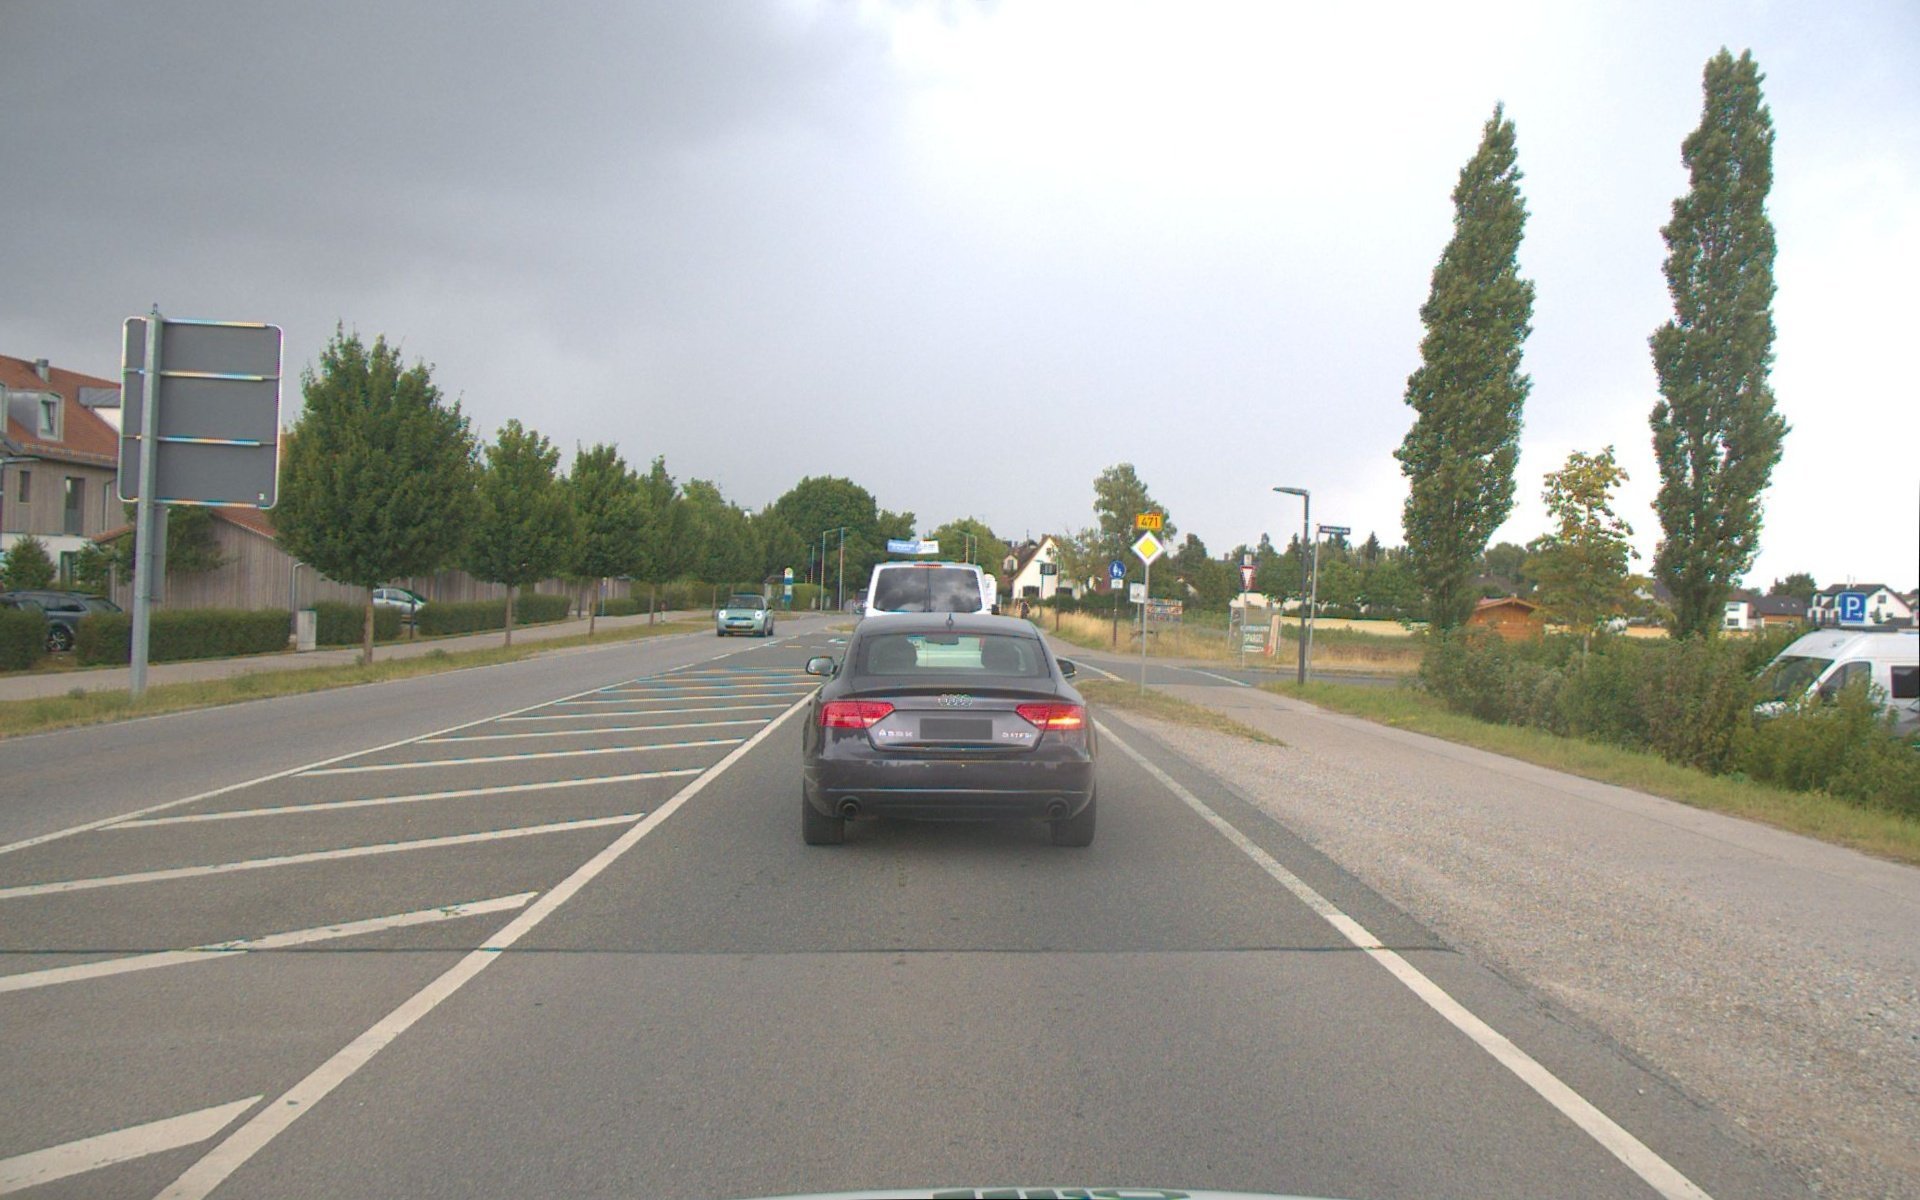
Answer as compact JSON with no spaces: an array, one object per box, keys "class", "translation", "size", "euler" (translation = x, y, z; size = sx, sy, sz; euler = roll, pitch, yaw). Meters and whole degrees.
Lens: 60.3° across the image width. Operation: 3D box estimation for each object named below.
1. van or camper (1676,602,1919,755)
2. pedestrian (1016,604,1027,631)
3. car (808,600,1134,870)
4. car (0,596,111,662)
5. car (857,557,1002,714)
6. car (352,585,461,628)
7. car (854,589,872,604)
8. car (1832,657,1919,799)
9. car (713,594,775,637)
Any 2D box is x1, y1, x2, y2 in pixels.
[{"class":"van or camper","translation":[16.081,1.324,28.744],"size":[6.338,2.507,2.280],"euler":[0,0,-4]},{"class":"pedestrian","translation":[3.575,0.990,95.711],"size":[0.611,1.551,0.679],"euler":[0,0,-1]},{"class":"car","translation":[-0.127,0.730,11.219],"size":[1.790,1.413,4.383],"euler":[0,1,-5]},{"class":"car","translation":[-22.560,0.682,39.784],"size":[3.443,1.515,1.563],"euler":[0,0,-1]},{"class":"car","translation":[-0.476,0.444,23.450],"size":[1.789,1.946,3.998],"euler":[3,0,-3]},{"class":"car","translation":[-23.667,0.279,70.824],"size":[3.905,1.583,2.000],"euler":[3,0,0]},{"class":"car","translation":[-9.142,-0.337,156.098],"size":[1.620,1.454,3.601],"euler":[0,0,-1]},{"class":"car","translation":[16.377,1.956,25.818],"size":[4.501,2.049,1.999],"euler":[0,0,-3]},{"class":"car","translation":[-7.688,0.536,59.151],"size":[1.734,1.469,3.999],"euler":[0,0,-1]}]
